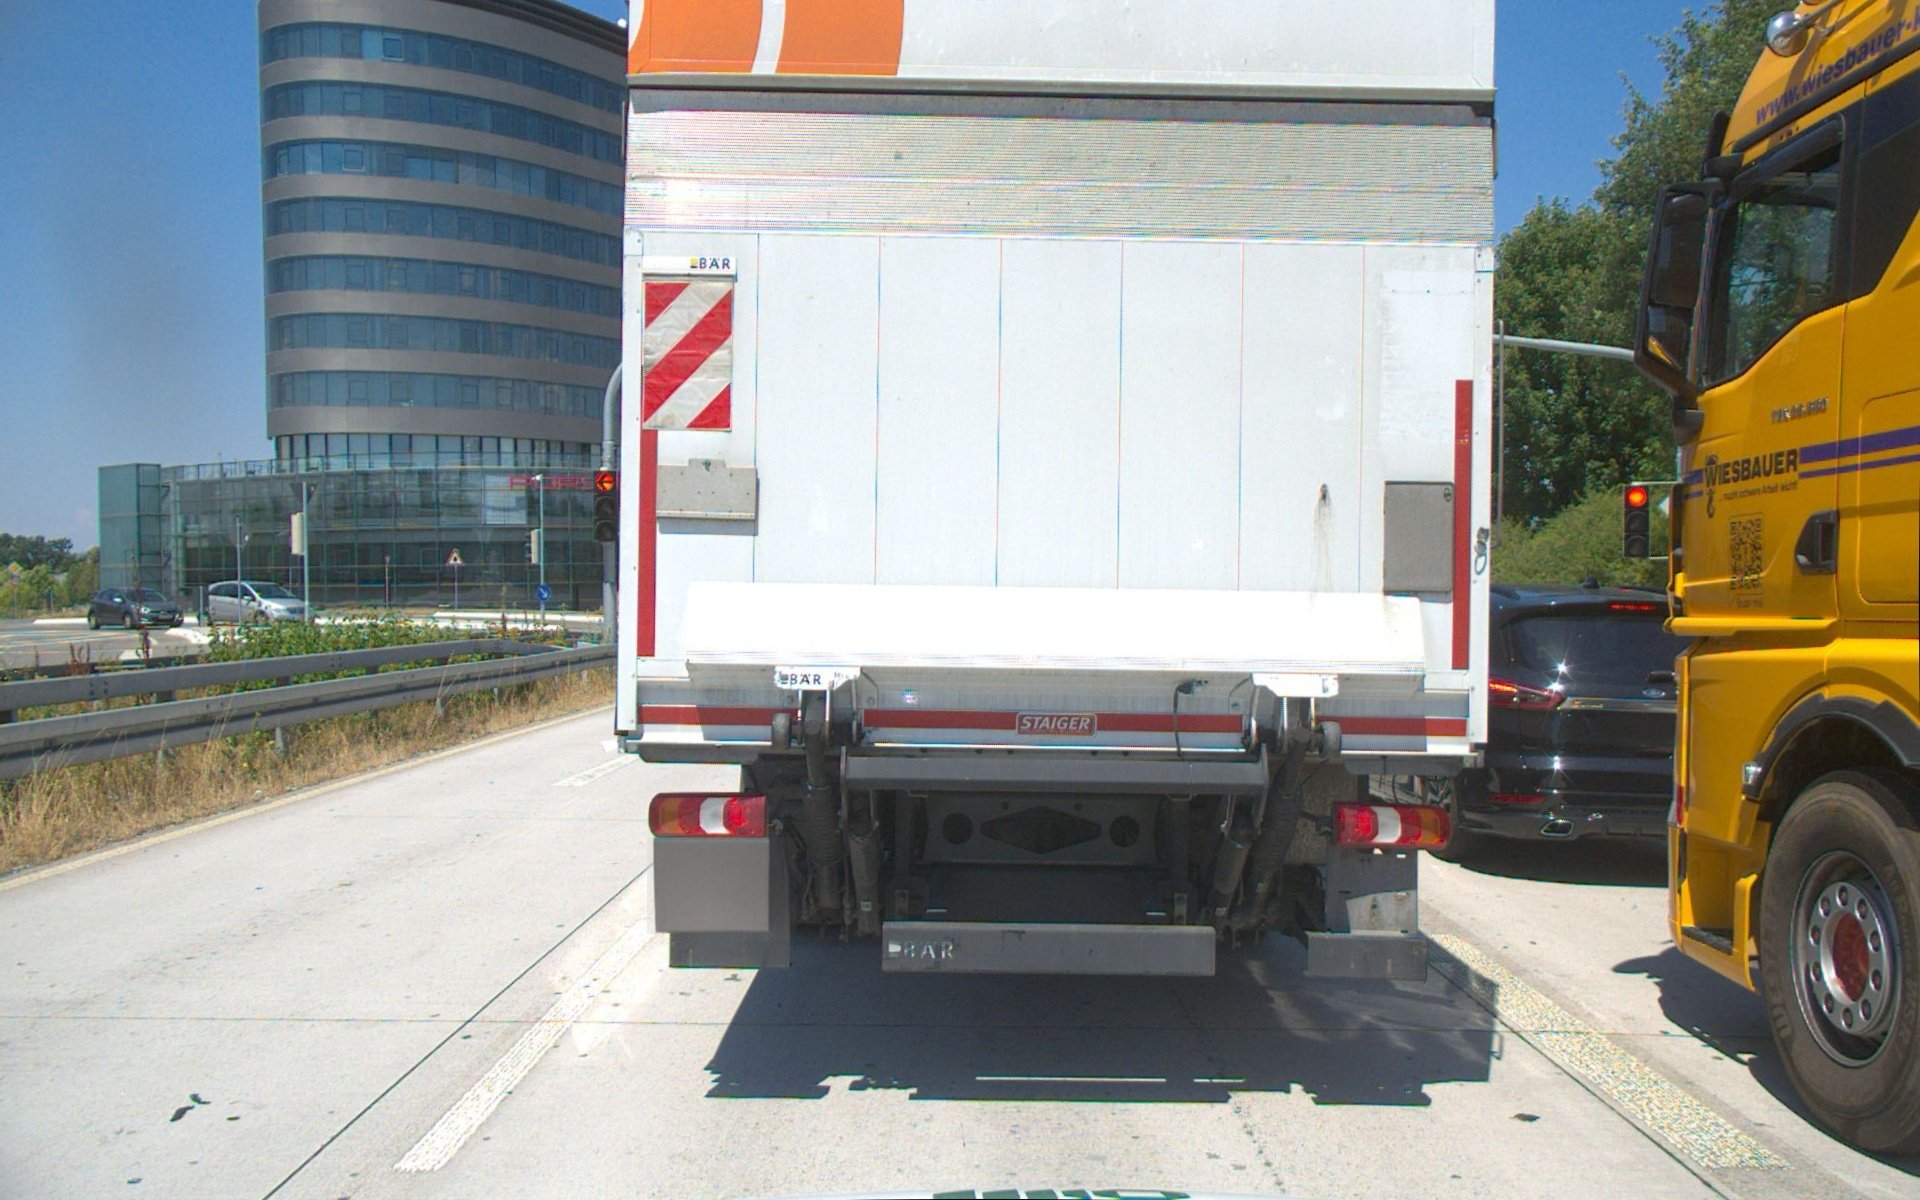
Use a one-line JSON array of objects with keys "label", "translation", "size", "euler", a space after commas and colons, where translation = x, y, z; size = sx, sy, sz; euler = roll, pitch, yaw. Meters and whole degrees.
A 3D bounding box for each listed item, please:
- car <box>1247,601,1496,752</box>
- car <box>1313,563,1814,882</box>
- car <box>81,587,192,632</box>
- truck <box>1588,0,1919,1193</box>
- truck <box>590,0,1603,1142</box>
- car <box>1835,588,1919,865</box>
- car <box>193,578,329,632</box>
[{"label": "car", "translation": [4.384, 0.750, 18.311], "size": [1.731, 1.435, 4.611], "euler": [1, 0, 2]}, {"label": "car", "translation": [3.707, 0.659, 11.131], "size": [1.747, 1.668, 4.648], "euler": [1, 0, 1]}, {"label": "car", "translation": [-28.826, 0.354, 57.851], "size": [4.241, 1.482, 1.691], "euler": [-2, -2, 35]}, {"label": "truck", "translation": [3.960, -0.415, 2.468], "size": [2.953, 3.838, 7.466], "euler": [1, 0, -2]}, {"label": "truck", "translation": [0.324, -0.490, 9.182], "size": [2.713, 3.927, 9.368], "euler": [1, 0, -1]}, {"label": "car", "translation": [7.341, 0.848, 9.587], "size": [1.733, 1.839, 4.788], "euler": [1, 0, -4]}, {"label": "car", "translation": [-22.651, 0.196, 53.572], "size": [4.231, 1.623, 1.775], "euler": [-1, -2, 27]}]
